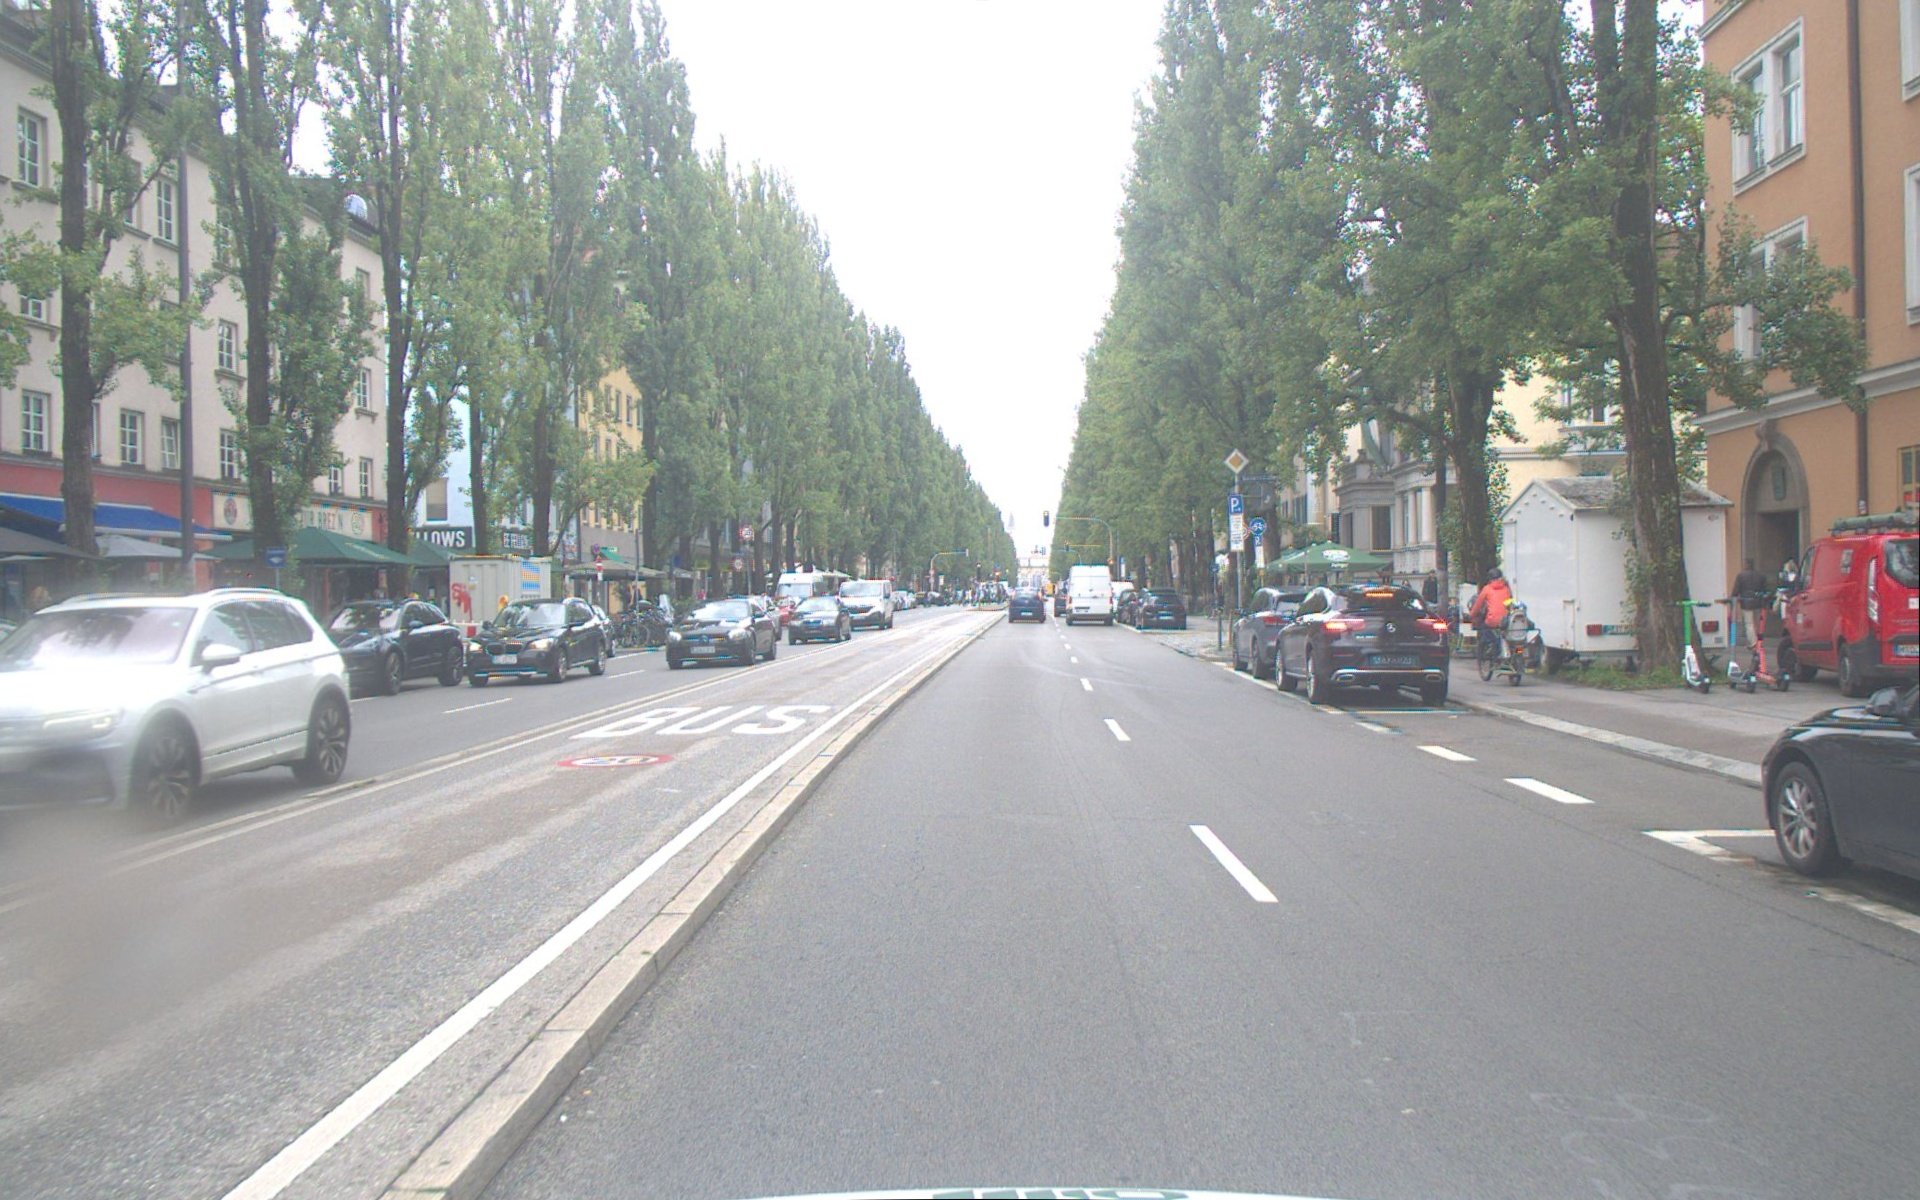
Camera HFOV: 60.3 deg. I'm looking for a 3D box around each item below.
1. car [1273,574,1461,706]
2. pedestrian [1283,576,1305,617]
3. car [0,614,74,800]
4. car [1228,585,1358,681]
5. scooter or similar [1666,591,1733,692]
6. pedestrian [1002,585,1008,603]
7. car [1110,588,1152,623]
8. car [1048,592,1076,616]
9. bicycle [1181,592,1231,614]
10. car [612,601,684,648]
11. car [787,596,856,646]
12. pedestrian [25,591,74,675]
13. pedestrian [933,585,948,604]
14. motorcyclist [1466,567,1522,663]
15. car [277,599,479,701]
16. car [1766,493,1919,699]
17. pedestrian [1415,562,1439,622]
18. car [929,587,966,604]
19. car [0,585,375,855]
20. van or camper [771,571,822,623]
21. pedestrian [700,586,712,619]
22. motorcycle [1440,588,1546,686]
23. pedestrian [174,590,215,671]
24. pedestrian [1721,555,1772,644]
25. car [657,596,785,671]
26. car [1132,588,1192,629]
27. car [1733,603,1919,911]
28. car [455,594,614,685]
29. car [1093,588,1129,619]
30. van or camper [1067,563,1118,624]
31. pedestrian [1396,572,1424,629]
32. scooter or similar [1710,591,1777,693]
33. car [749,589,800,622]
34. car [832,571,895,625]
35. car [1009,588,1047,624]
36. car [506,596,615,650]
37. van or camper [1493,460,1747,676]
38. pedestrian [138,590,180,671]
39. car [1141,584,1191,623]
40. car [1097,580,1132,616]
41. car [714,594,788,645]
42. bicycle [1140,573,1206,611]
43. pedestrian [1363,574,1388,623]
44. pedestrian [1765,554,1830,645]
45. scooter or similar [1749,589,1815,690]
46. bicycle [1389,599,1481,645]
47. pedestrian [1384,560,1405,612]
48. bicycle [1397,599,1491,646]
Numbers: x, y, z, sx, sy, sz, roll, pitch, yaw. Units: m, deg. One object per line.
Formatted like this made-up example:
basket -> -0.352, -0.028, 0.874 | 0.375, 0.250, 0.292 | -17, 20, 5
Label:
car -> 5.726, 0.504, 23.803 | 1.841, 1.670, 4.585 | -1, 0, 4
pedestrian -> 15.098, -0.167, 74.764 | 0.796, 1.786, 0.933 | -2, 0, 20
car -> -8.922, 0.927, 12.524 | 1.899, 1.519, 4.458 | -2, 0, 2
car -> 6.012, 0.543, 30.308 | 1.590, 1.592, 4.372 | -1, 0, 2
scooter or similar -> 9.754, 0.525, 21.847 | 0.514, 1.254, 1.478 | -3, 0, 15
pedestrian -> 4.256, -0.566, 155.585 | 0.541, 1.746, 0.493 | -2, 0, 3
car -> 8.096, 0.285, 78.557 | 1.767, 1.624, 4.001 | 0, -1, 2
car -> 5.774, 0.218, 93.769 | 1.472, 1.336, 3.284 | -1, 0, 2
bicycle -> 11.758, 0.149, 79.121 | 0.752, 1.041, 2.704 | -1, 0, -32
car -> -9.426, 0.743, 50.179 | 1.480, 1.368, 3.237 | 0, -1, 2
car -> -4.248, 0.634, 51.258 | 1.676, 1.438, 3.724 | -1, 0, 2
pedestrian -> -18.957, 0.677, 34.446 | 0.625, 1.729, 0.648 | -1, 0, 2
pedestrian -> -2.031, -0.534, 169.176 | 1.125, 1.950, 1.142 | -1, 0, -29
motorcyclist -> 8.167, 0.219, 25.293 | 0.552, 1.431, 0.766 | -2, 0, -1
car -> -10.340, 0.831, 29.749 | 1.810, 1.592, 4.335 | -1, 1, 4
car -> 12.016, -0.100, 21.349 | 1.860, 2.368, 4.829 | -2, 0, 14
pedestrian -> 15.081, -0.254, 53.385 | 0.686, 1.905, 0.766 | 0, -1, 11
car -> -1.357, -0.514, 179.949 | 3.908, 1.775, 1.999 | -1, 0, -4
car -> -6.260, 0.755, 12.567 | 1.899, 1.671, 4.464 | -2, 0, 2
van or camper -> -8.164, -0.170, 82.966 | 1.952, 2.501, 4.252 | -1, 0, 2
pedestrian -> -14.822, 0.158, 96.561 | 0.570, 1.889, 0.675 | -1, 0, 1
motorcycle -> 8.109, 0.530, 25.252 | 0.809, 1.394, 2.252 | -2, 0, -1
pedestrian -> -18.116, 0.712, 39.154 | 0.625, 1.894, 0.648 | -1, 0, 2
pedestrian -> 14.929, -0.013, 31.396 | 0.658, 1.641, 0.640 | -1, 0, 5
car -> -5.214, 0.696, 36.779 | 1.952, 1.457, 4.773 | -2, 0, 2
car -> 7.749, 0.302, 63.755 | 1.903, 1.493, 4.001 | -1, 0, 1
car -> 5.409, 0.753, 7.543 | 1.698, 1.418, 4.433 | -2, 0, 0
car -> -8.109, 0.740, 31.925 | 1.810, 1.592, 4.213 | -1, -1, 2
car -> 8.178, 0.200, 90.050 | 1.726, 1.624, 4.001 | 0, -1, 2
van or camper -> 5.757, -0.248, 72.300 | 1.992, 2.519, 4.001 | -1, -1, 2
pedestrian -> 13.519, 0.017, 49.695 | 0.656, 1.679, 0.625 | -1, 0, 29
scooter or similar -> 10.207, 0.523, 21.570 | 0.475, 1.254, 1.407 | -3, 0, 15
car -> -8.521, 0.275, 76.183 | 1.758, 1.454, 4.001 | 0, -1, 2
car -> -3.819, -0.065, 66.353 | 1.952, 1.967, 4.919 | -3, 0, 2
car -> 3.182, 0.284, 77.494 | 1.722, 1.648, 3.748 | 0, -1, 3
car -> -10.098, 0.547, 42.095 | 1.772, 1.272, 3.701 | -1, 0, 2
van or camper -> 10.646, -0.495, 27.130 | 2.409, 3.166, 4.717 | -2, 0, 3
pedestrian -> -18.895, 0.709, 39.015 | 0.625, 1.894, 0.648 | -1, 0, 2
car -> 8.596, 0.118, 69.317 | 1.747, 1.551, 3.942 | -1, 0, 2
car -> 8.951, -0.095, 96.068 | 1.767, 2.027, 4.001 | 0, -1, 2
car -> -6.904, 0.650, 55.072 | 1.788, 1.559, 4.001 | -2, -1, 2
bicycle -> 11.691, -0.437, 90.663 | 3.473, 2.049, 1.298 | 0, -1, 11
pedestrian -> 16.190, -0.059, 64.479 | 0.745, 1.886, 0.740 | -1, 0, -1
pedestrian -> 15.542, -0.016, 30.704 | 0.803, 1.641, 0.779 | -1, 0, 5
scooter or similar -> 10.715, 0.494, 21.581 | 0.475, 1.254, 1.169 | -3, 0, 15
bicycle -> 11.424, 0.528, 39.821 | 2.015, 1.041, 0.690 | -1, 0, -8
pedestrian -> 14.061, -0.456, 53.515 | 0.634, 1.675, 0.766 | 0, -1, 11
bicycle -> 11.112, 0.511, 38.027 | 2.009, 1.041, 0.692 | -1, 0, 10
